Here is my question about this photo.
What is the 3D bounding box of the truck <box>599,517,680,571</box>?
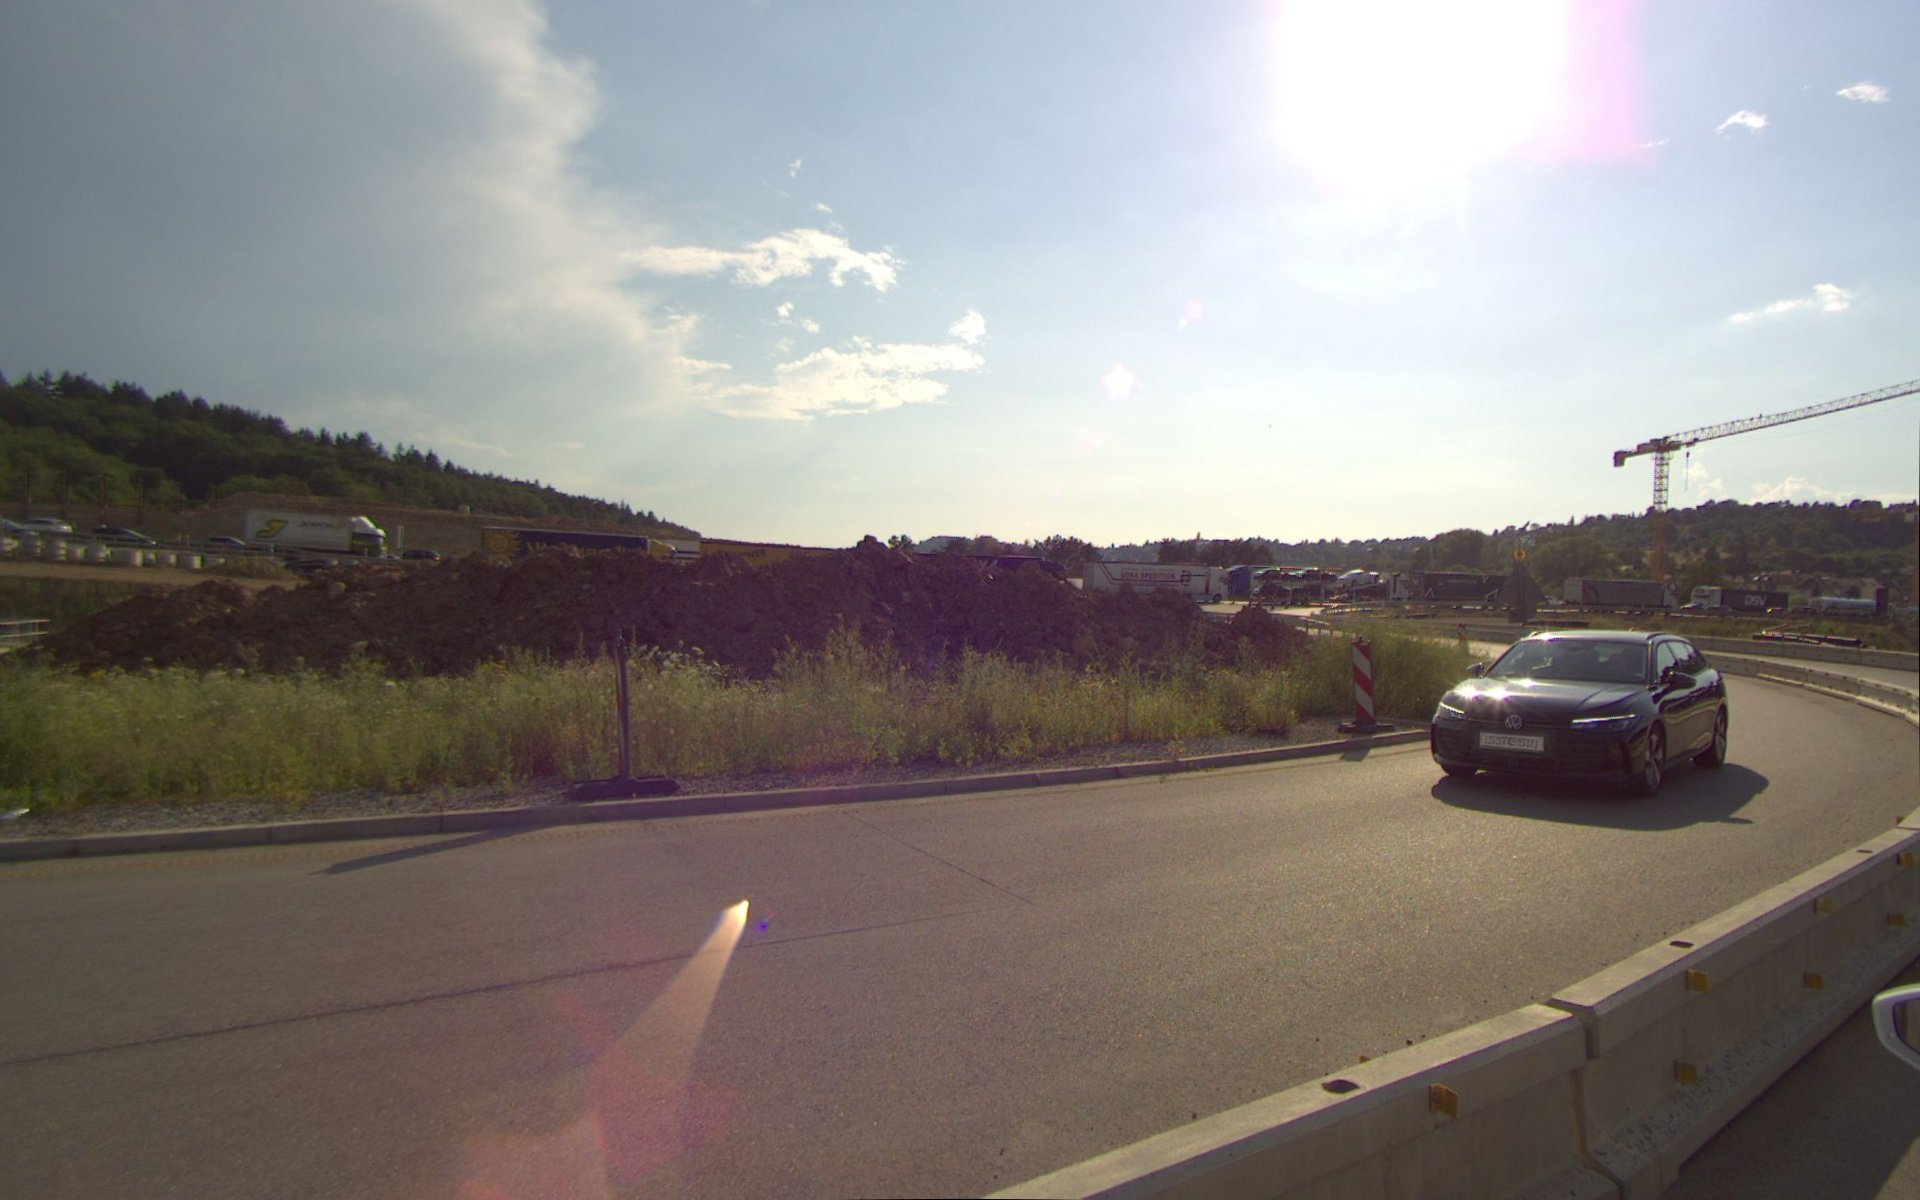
[{"bbox_3d":[-29.058,-5.019,91.199,6.786,4.371,3.102,2,0,-17],"label":"truck"}]

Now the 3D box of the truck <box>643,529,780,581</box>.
[{"bbox_3d":[-24.795,-4.429,100.407,12.970,4.470,3.558,2,0,-19],"label":"truck"}]

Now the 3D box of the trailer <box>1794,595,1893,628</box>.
[{"bbox_3d":[124.228,1.640,141.169,14.512,4.050,3.382,2,2,-18],"label":"trailer"}]

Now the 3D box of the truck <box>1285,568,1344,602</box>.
[{"bbox_3d":[44.472,-1.872,126.060,6.520,4.050,2.846,2,2,-18],"label":"truck"}]

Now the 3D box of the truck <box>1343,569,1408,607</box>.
[{"bbox_3d":[48.058,-1.365,116.306,6.520,4.050,2.846,2,2,-18],"label":"truck"}]

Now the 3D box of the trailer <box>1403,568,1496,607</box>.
[{"bbox_3d":[58.404,-1.447,119.805,10.619,4.146,2.957,2,1,-17],"label":"trailer"}]

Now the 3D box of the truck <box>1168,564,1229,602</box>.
[{"bbox_3d":[25.865,-1.854,109.131,5.917,3.930,2.478,2,2,-18],"label":"truck"}]

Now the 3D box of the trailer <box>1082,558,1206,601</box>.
[{"bbox_3d":[19.651,-2.149,107.036,13.417,3.930,2.478,2,2,-19],"label":"trailer"}]

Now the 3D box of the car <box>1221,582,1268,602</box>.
[{"bbox_3d":[33.247,-0.945,117.428,4.899,2.008,2.027,1,3,-17],"label":"car"}]

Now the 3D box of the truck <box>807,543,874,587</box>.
[{"bbox_3d":[-11.486,-3.342,96.631,5.916,3.954,2.478,2,2,-18],"label":"truck"}]

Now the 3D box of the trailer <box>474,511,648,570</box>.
[{"bbox_3d":[-35.149,-5.162,89.291,14.023,4.371,3.102,2,0,-17],"label":"trailer"}]

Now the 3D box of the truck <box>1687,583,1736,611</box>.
[{"bbox_3d":[109.079,-0.421,145.832,5.597,3.777,2.995,2,0,-17],"label":"truck"}]

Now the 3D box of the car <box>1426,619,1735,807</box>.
[{"bbox_3d":[6.644,1.020,10.517,4.484,1.539,1.693,2,-2,-44],"label":"car"}]

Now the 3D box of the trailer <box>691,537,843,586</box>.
[{"bbox_3d":[-18.104,-3.581,94.637,13.754,4.012,2.478,2,2,-18],"label":"trailer"}]

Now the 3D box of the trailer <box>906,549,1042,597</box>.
[{"bbox_3d":[1.479,-2.669,100.808,13.406,4.116,2.480,2,2,-16],"label":"trailer"}]

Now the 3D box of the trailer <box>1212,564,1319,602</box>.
[{"bbox_3d":[37.618,-2.084,123.760,13.264,4.050,2.854,2,2,-18],"label":"trailer"}]

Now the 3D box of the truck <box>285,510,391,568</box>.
[{"bbox_3d":[-51.735,-5.019,83.783,6.786,4.371,3.102,2,0,-17],"label":"truck"}]

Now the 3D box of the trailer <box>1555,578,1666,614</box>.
[{"bbox_3d":[82.786,-0.524,127.848,14.512,4.050,3.382,2,2,-18],"label":"trailer"}]

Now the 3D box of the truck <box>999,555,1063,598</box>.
[{"bbox_3d":[7.212,-2.431,102.421,5.910,4.115,2.481,2,2,-14],"label":"truck"}]

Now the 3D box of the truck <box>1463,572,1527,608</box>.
[{"bbox_3d":[64.826,-1.269,121.770,6.517,4.050,2.883,2,2,-17],"label":"truck"}]

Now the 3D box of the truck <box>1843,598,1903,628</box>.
[{"bbox_3d":[129.958,1.838,143.057,6.520,4.050,3.387,2,2,-18],"label":"truck"}]

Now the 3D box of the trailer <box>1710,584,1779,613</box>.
[{"bbox_3d":[115.409,-0.220,147.772,9.416,3.802,3.005,2,0,-17],"label":"trailer"}]

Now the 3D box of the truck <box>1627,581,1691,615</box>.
[{"bbox_3d":[90.797,-0.268,130.496,6.520,4.050,3.340,2,2,-18],"label":"truck"}]

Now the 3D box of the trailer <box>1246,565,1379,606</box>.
[{"bbox_3d":[39.969,-1.629,113.636,15.498,4.050,2.854,2,2,-18],"label":"trailer"}]

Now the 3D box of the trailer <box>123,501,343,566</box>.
[{"bbox_3d":[-58.645,-5.306,81.561,14.023,4.371,3.102,2,0,-17],"label":"trailer"}]
